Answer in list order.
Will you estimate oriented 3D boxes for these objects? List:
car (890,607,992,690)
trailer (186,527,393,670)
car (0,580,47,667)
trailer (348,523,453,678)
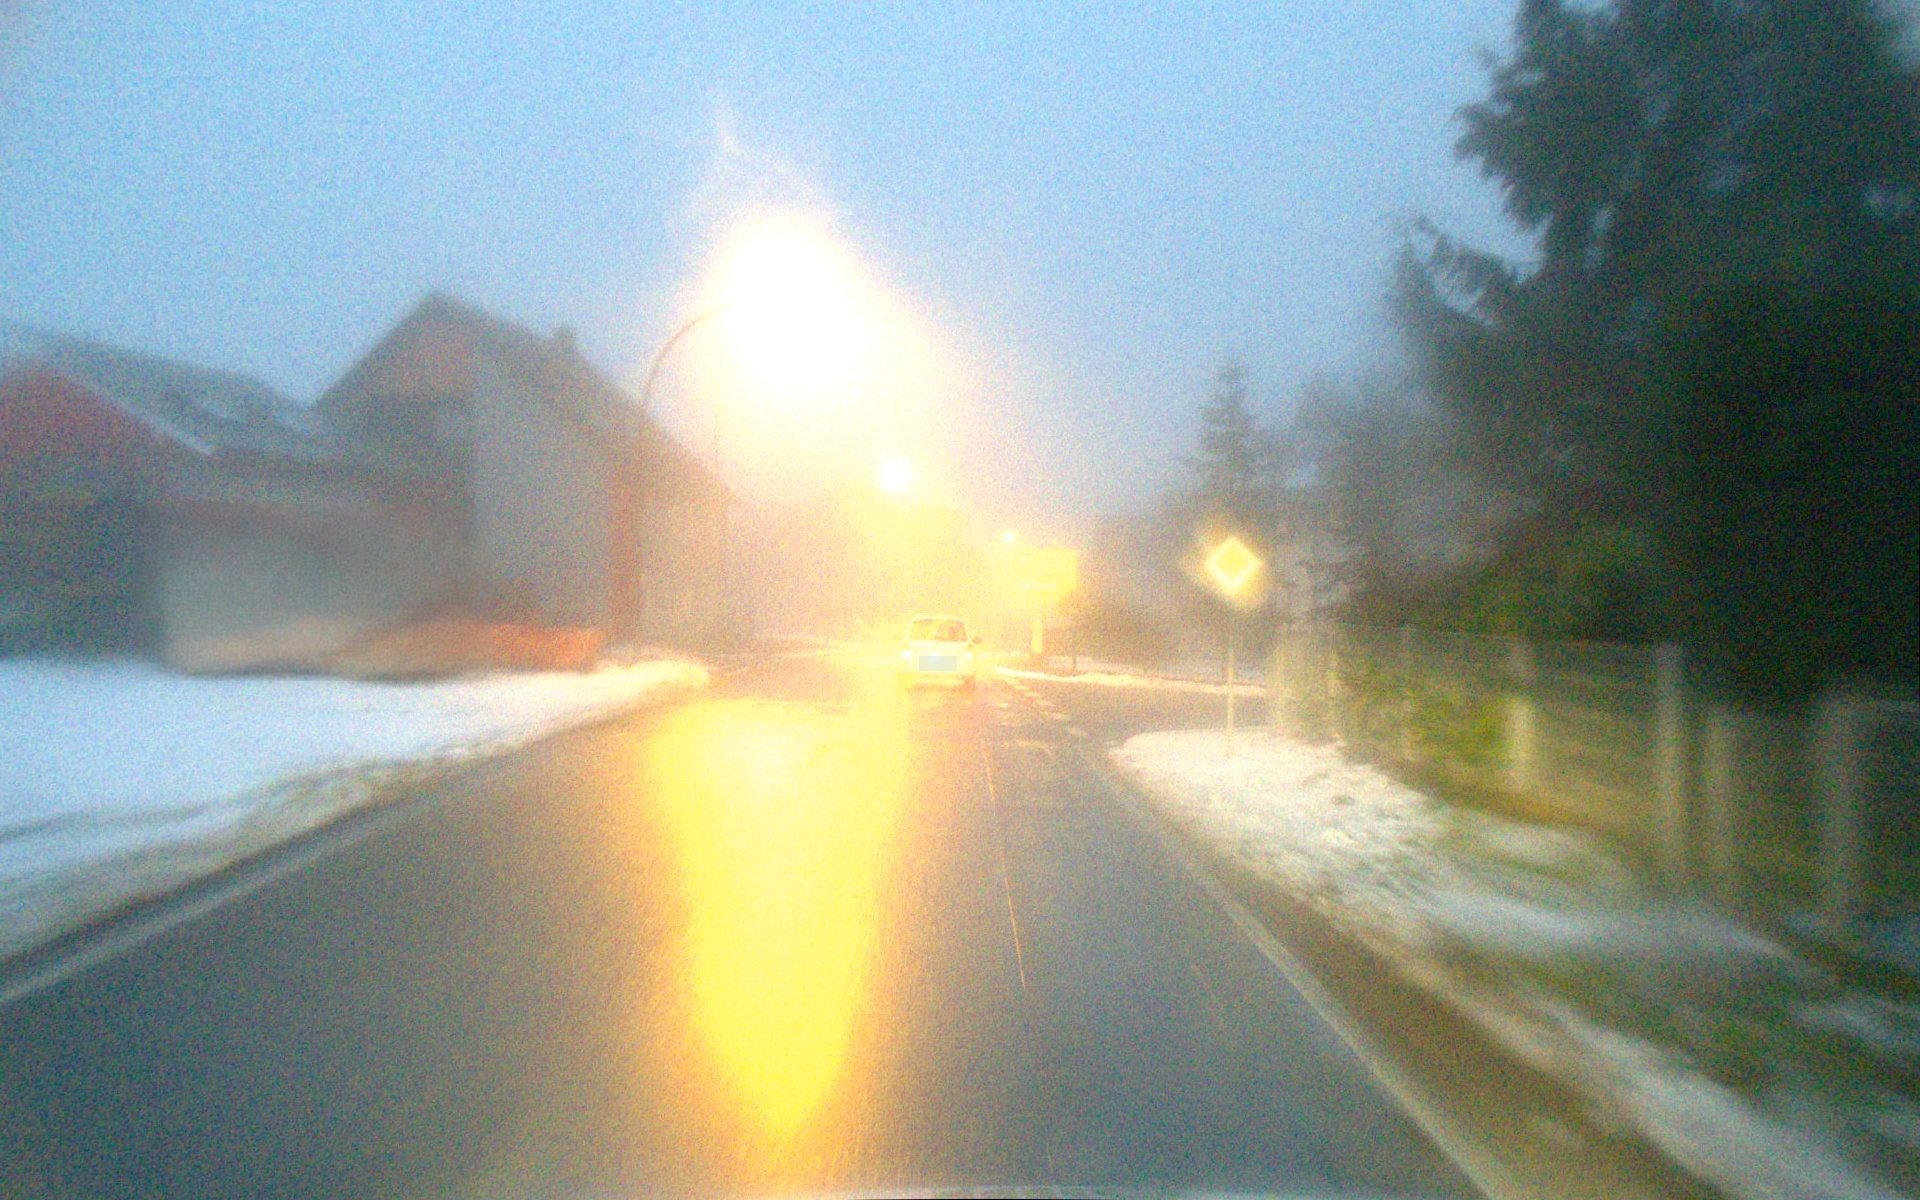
[{"bbox_3d":[-0.368,0.953,34.331,1.953,1.534,4.000,-2,0,0],"label":"car"},{"bbox_3d":[-12.824,-0.042,31.940,1.951,2.533,4.013,-1,0,7],"label":"trailer"},{"bbox_3d":[-20.306,0.497,32.598,1.951,1.747,4.004,-1,0,9],"label":"car"},{"bbox_3d":[-10.314,0.001,30.358,1.665,2.651,3.424,-2,0,-21],"label":"trailer"}]
